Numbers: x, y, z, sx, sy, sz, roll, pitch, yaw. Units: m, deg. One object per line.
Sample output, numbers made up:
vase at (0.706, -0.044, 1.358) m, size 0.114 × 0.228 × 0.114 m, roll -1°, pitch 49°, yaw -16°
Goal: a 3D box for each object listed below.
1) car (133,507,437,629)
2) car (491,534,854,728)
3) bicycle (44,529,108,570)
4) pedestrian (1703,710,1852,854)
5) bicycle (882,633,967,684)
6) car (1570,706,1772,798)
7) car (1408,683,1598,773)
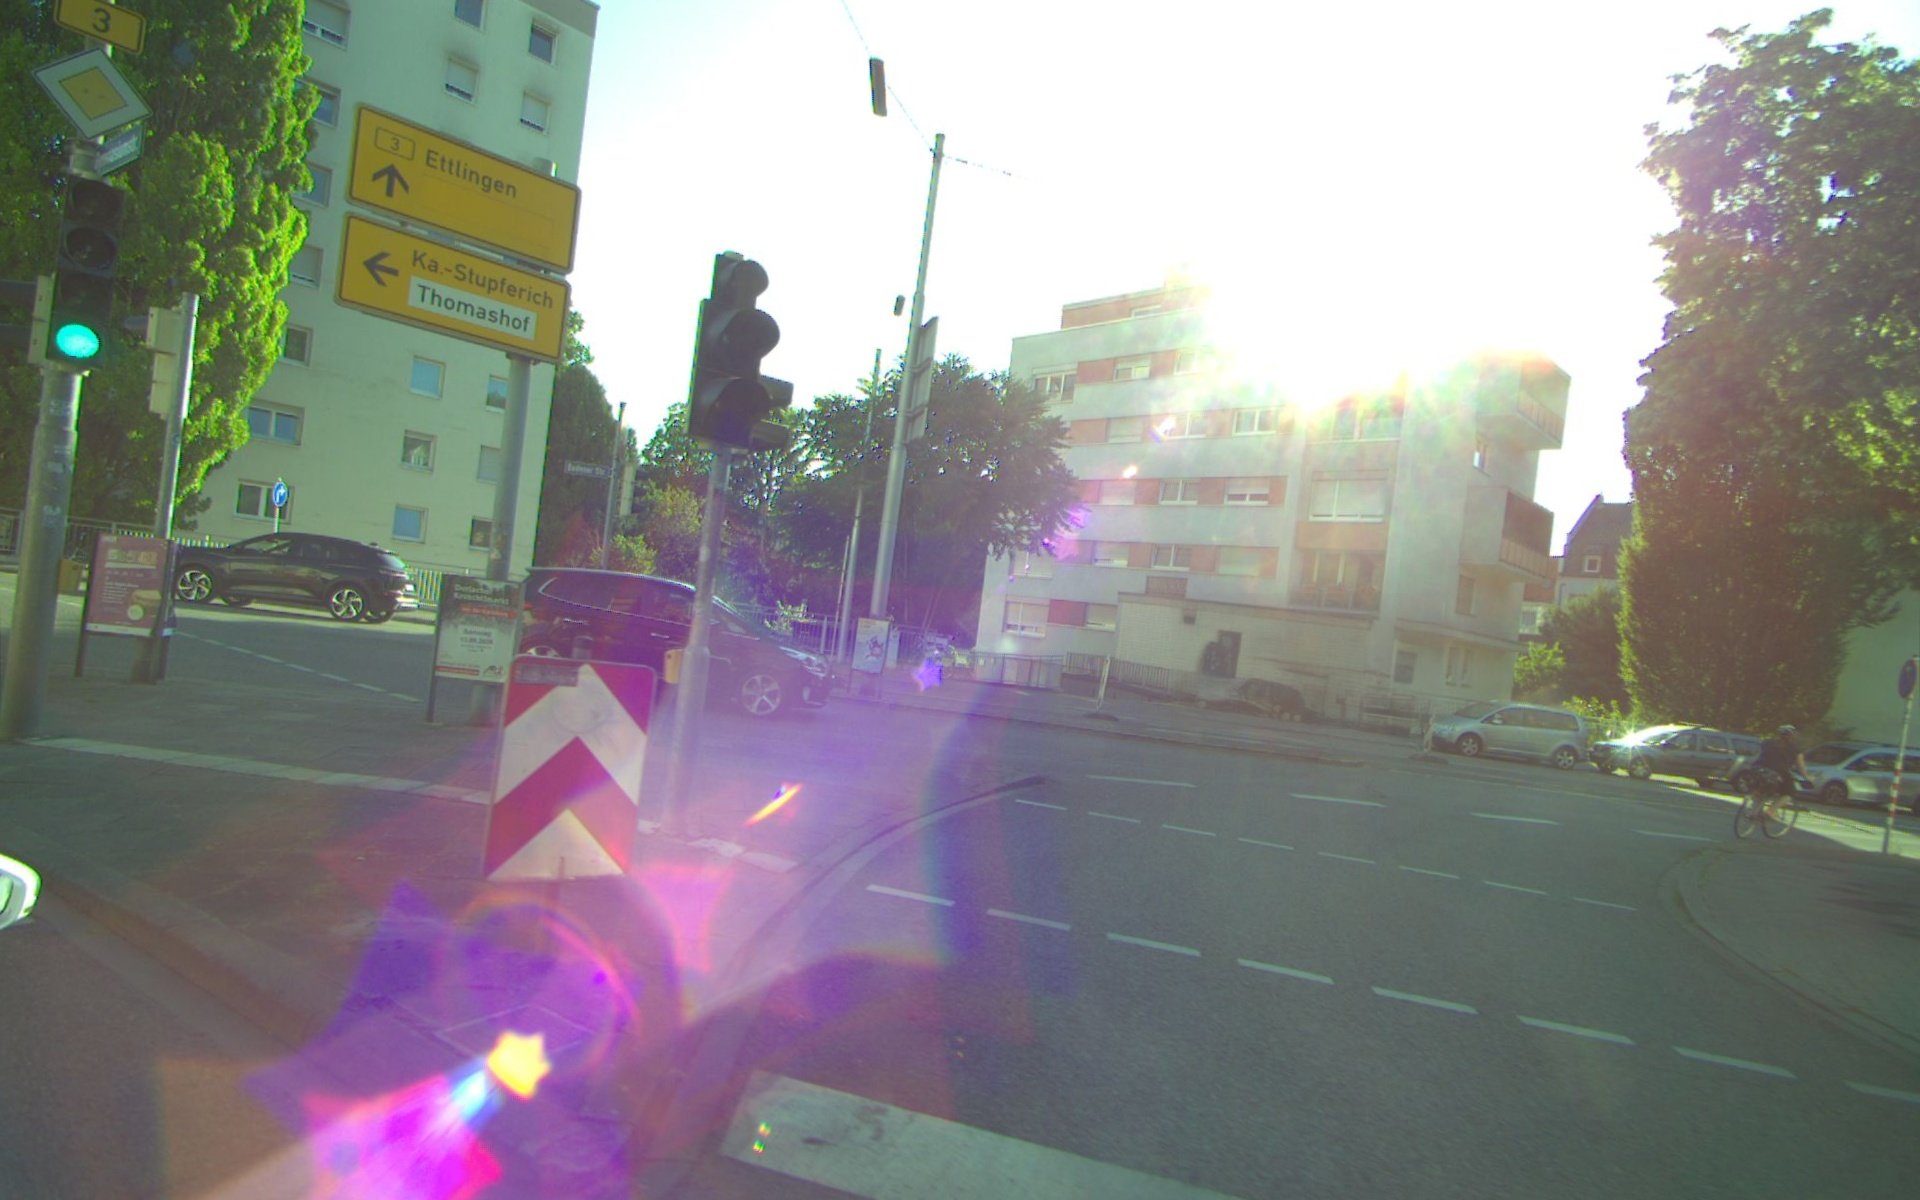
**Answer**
car at (-13.610, -0.572, 20.633) m, size 4.589 × 1.687 × 1.998 m, roll 8°, pitch -4°, yaw -13°
car at (-3.661, 0.378, 13.486) m, size 4.181 × 1.839 × 1.995 m, roll 8°, pitch 2°, yaw -9°
bicycle at (-23.281, -1.312, 26.526) m, size 0.402 × 0.913 × 1.290 m, roll 8°, pitch -2°, yaw 2°
pedestrian at (12.278, 2.709, 15.150) m, size 1.267 × 1.859 × 0.957 m, roll 8°, pitch -1°, yaw -4°
bicycle at (-1.050, 1.761, 30.089) m, size 2.302 × 1.191 × 0.709 m, roll 9°, pitch -2°, yaw -20°
car at (20.144, 4.268, 28.626) m, size 4.151 × 1.800 × 2.001 m, roll 8°, pitch -2°, yaw 0°
car at (15.405, 3.615, 28.715) m, size 4.151 × 1.800 × 2.001 m, roll 8°, pitch -2°, yaw 0°
